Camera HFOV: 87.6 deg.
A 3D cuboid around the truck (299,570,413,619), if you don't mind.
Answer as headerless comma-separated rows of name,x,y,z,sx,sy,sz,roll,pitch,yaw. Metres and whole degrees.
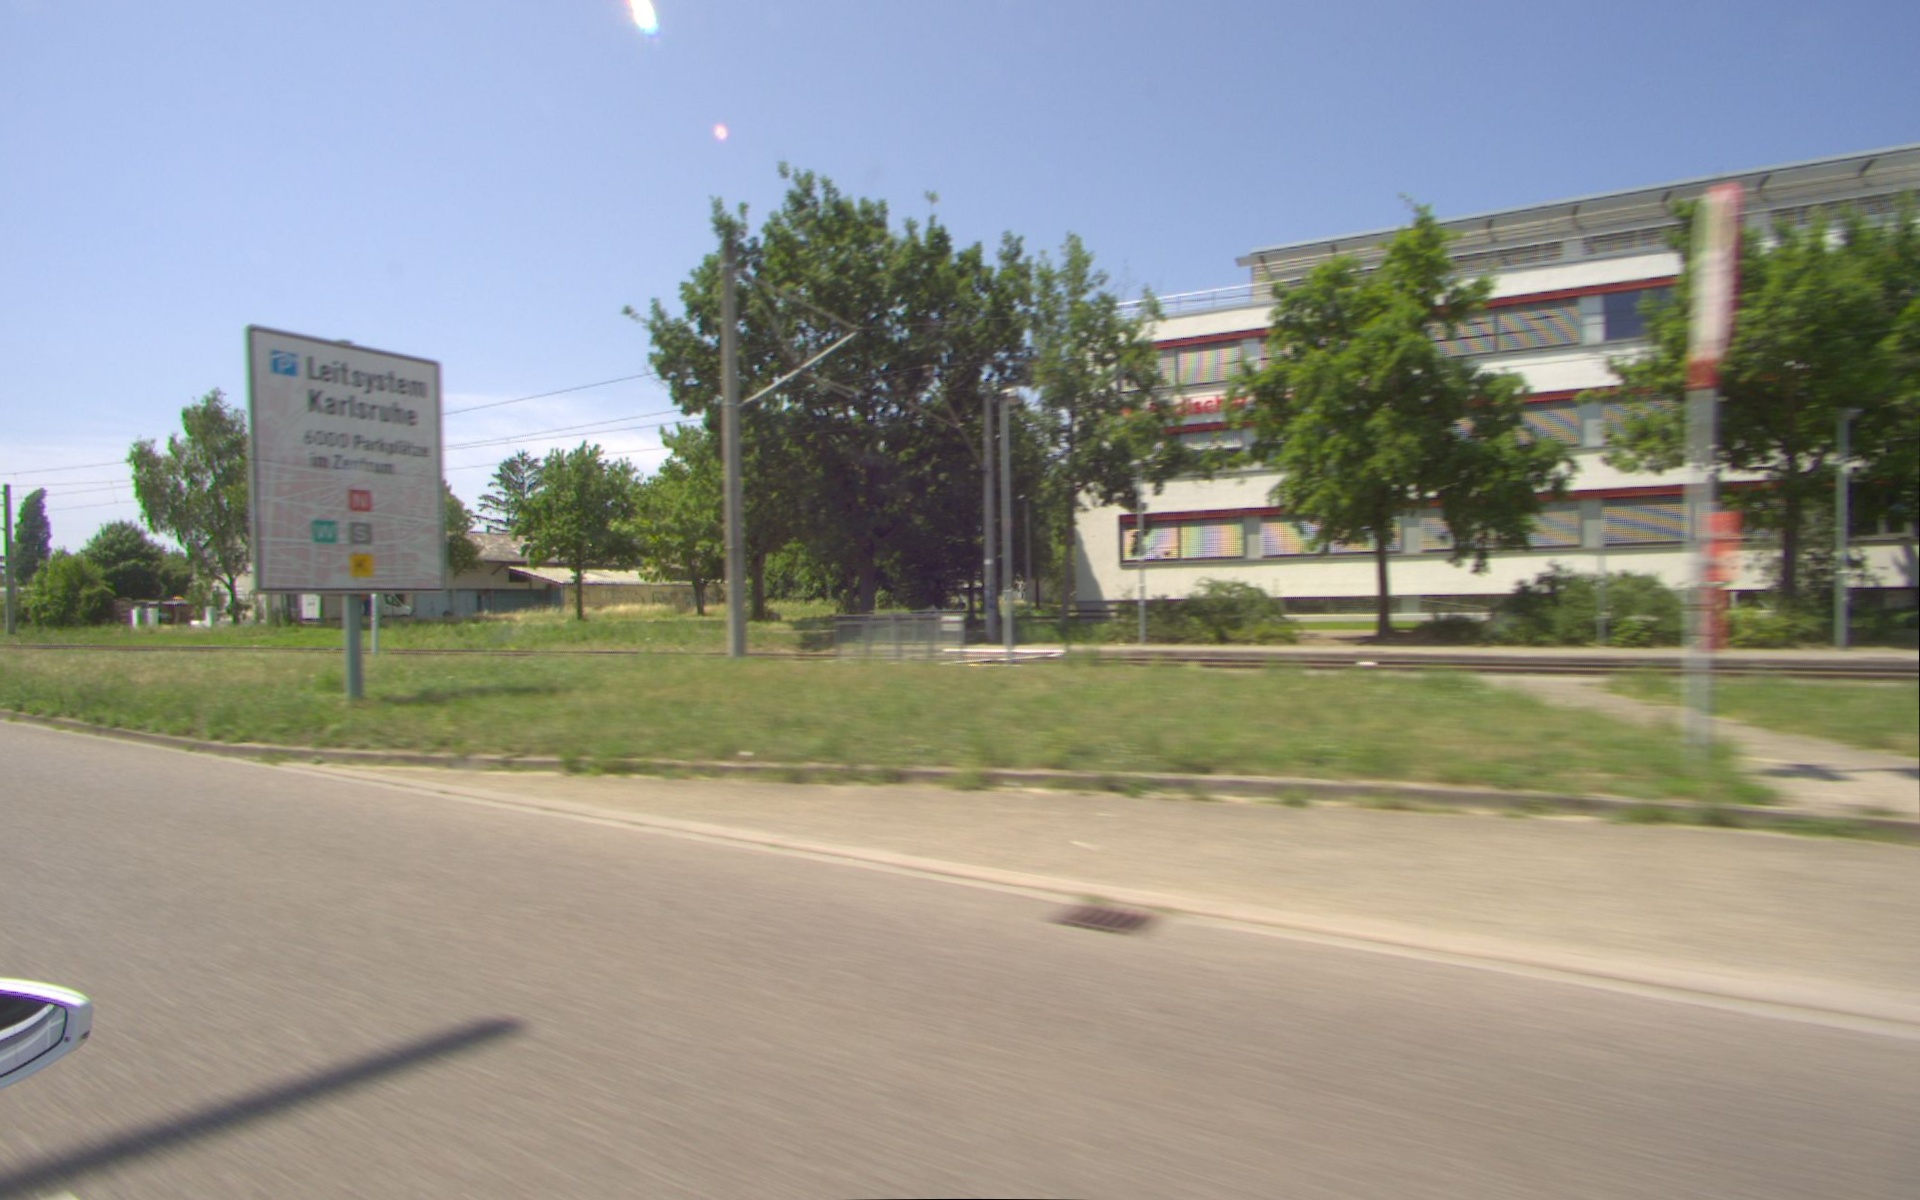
truck,-38.087,-0.407,63.363,2.282,2.882,5.839,-1,1,24
